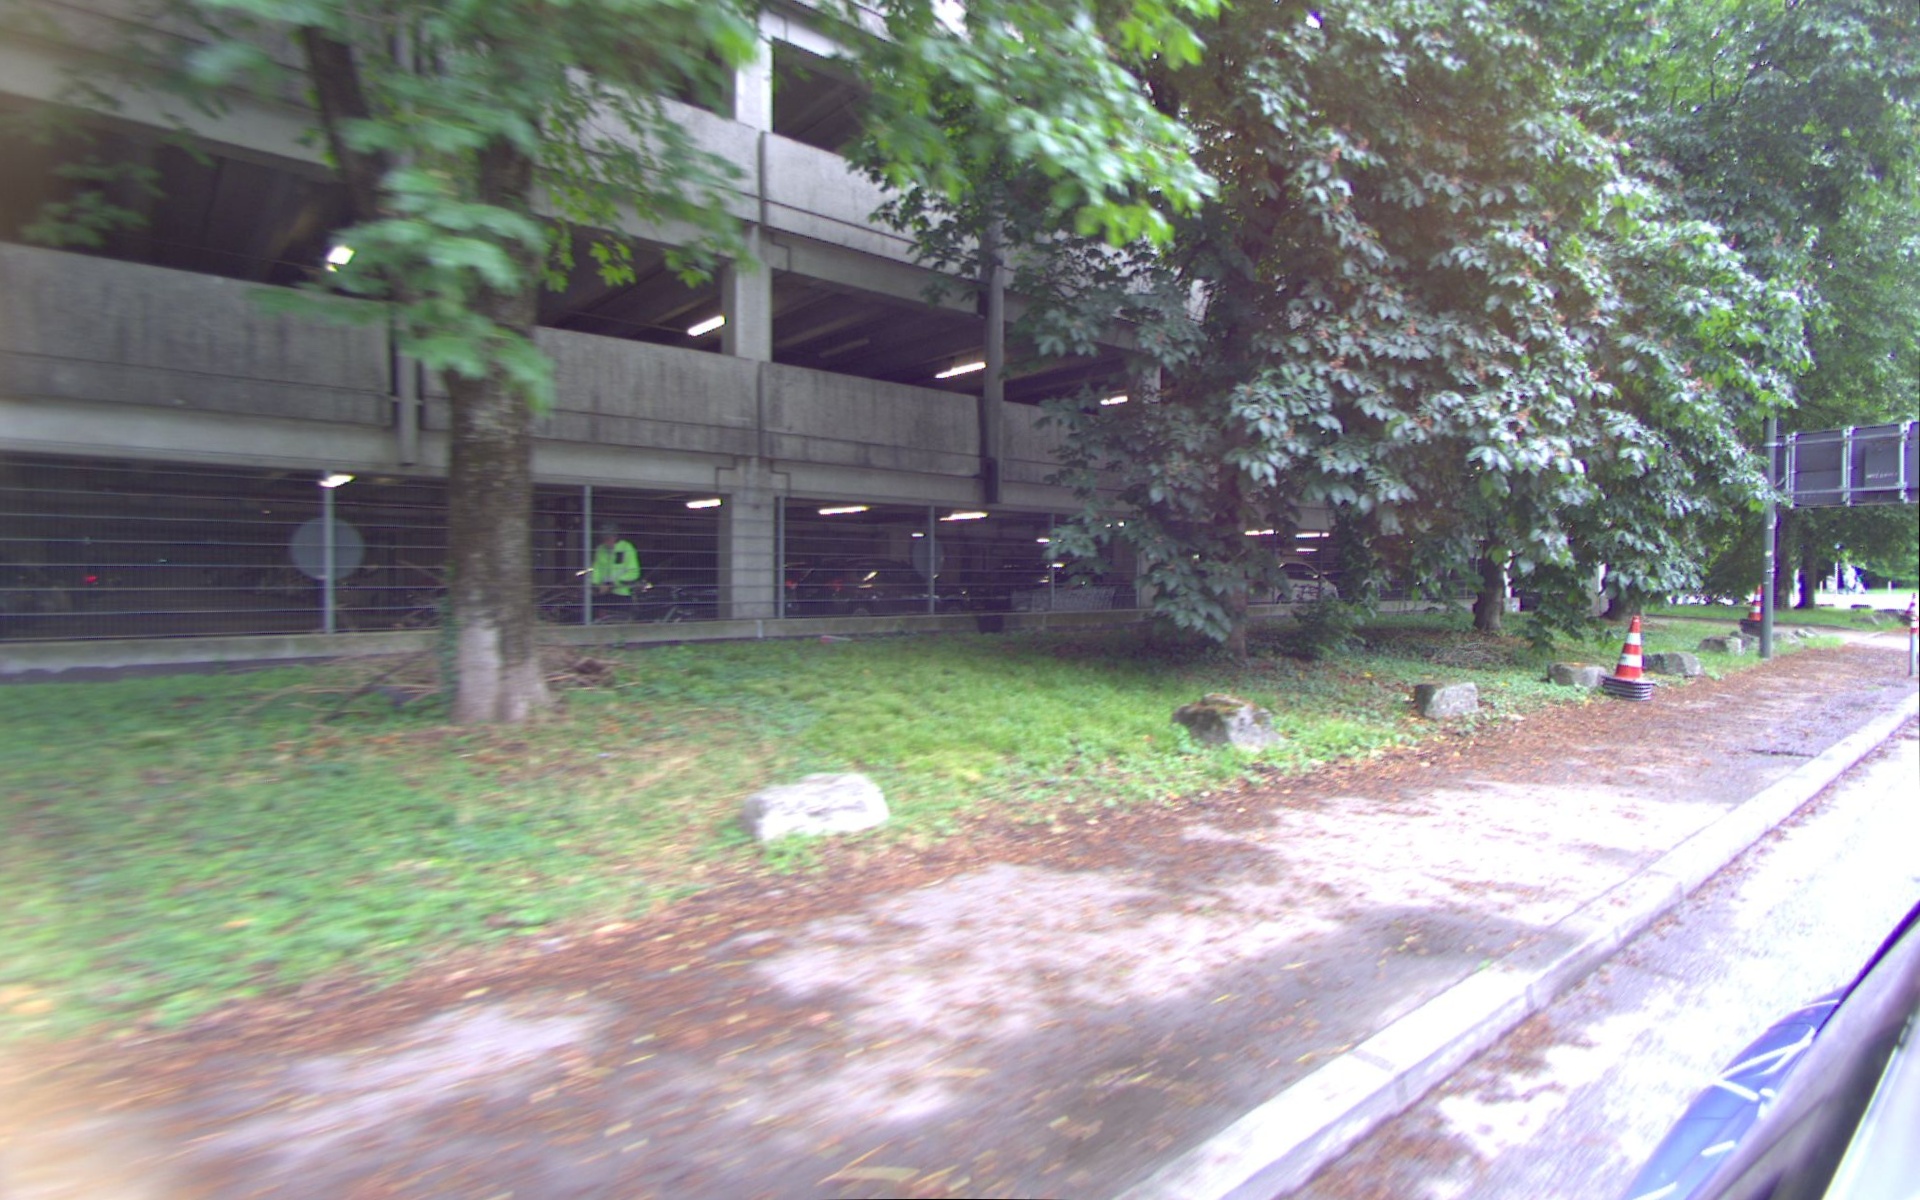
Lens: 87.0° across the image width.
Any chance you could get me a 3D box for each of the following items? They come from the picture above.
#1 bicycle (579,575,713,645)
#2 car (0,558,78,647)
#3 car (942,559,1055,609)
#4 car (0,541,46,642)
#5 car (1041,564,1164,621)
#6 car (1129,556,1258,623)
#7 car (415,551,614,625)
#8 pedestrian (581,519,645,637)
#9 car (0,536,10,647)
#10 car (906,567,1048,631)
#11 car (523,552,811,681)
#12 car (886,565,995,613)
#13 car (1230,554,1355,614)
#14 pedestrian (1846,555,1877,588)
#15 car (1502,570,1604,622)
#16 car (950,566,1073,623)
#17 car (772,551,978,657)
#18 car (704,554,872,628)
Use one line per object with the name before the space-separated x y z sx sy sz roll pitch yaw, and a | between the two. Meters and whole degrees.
bicycle | -3.668 0.099 11.910 0.446 0.745 1.474 0 2 41
car | -21.621 0.075 21.196 4.652 1.857 1.923 -1 1 -40
car | 1.331 -0.559 34.211 3.640 1.565 1.718 -3 2 -42
car | -16.770 -0.083 15.550 3.931 1.571 1.997 -3 2 -41
car | 4.311 -0.253 30.328 3.640 1.565 1.718 -3 2 -42
car | 6.586 -0.341 28.339 3.791 1.729 1.588 -3 2 -41
car | -10.442 -0.330 23.879 3.935 1.587 1.718 -3 2 -42
pedestrian | -4.074 -0.266 11.914 0.623 1.334 0.644 -2 1 -13
car | -15.420 -0.060 13.456 3.931 1.571 1.997 -3 2 -41
car | 0.495 -0.068 27.217 3.640 1.565 1.718 -3 2 -42
car | -5.218 0.187 18.393 4.595 2.038 1.997 -3 2 -41
car | -0.664 -0.415 36.370 3.638 1.565 1.719 -3 2 -41
car | 10.436 -0.532 31.620 4.588 1.729 1.588 -3 2 -41
pedestrian | 52.693 -1.648 59.171 0.911 1.856 1.201 -3 2 -37
car | 22.233 -0.188 37.871 4.654 1.857 1.922 -1 1 -41
car | 1.621 -0.204 31.063 3.640 1.565 1.718 -3 2 -42
car | -1.768 0.009 21.590 3.930 2.038 1.997 -3 2 -40
car | -4.093 -0.254 24.428 3.640 1.627 1.718 -3 2 -42
